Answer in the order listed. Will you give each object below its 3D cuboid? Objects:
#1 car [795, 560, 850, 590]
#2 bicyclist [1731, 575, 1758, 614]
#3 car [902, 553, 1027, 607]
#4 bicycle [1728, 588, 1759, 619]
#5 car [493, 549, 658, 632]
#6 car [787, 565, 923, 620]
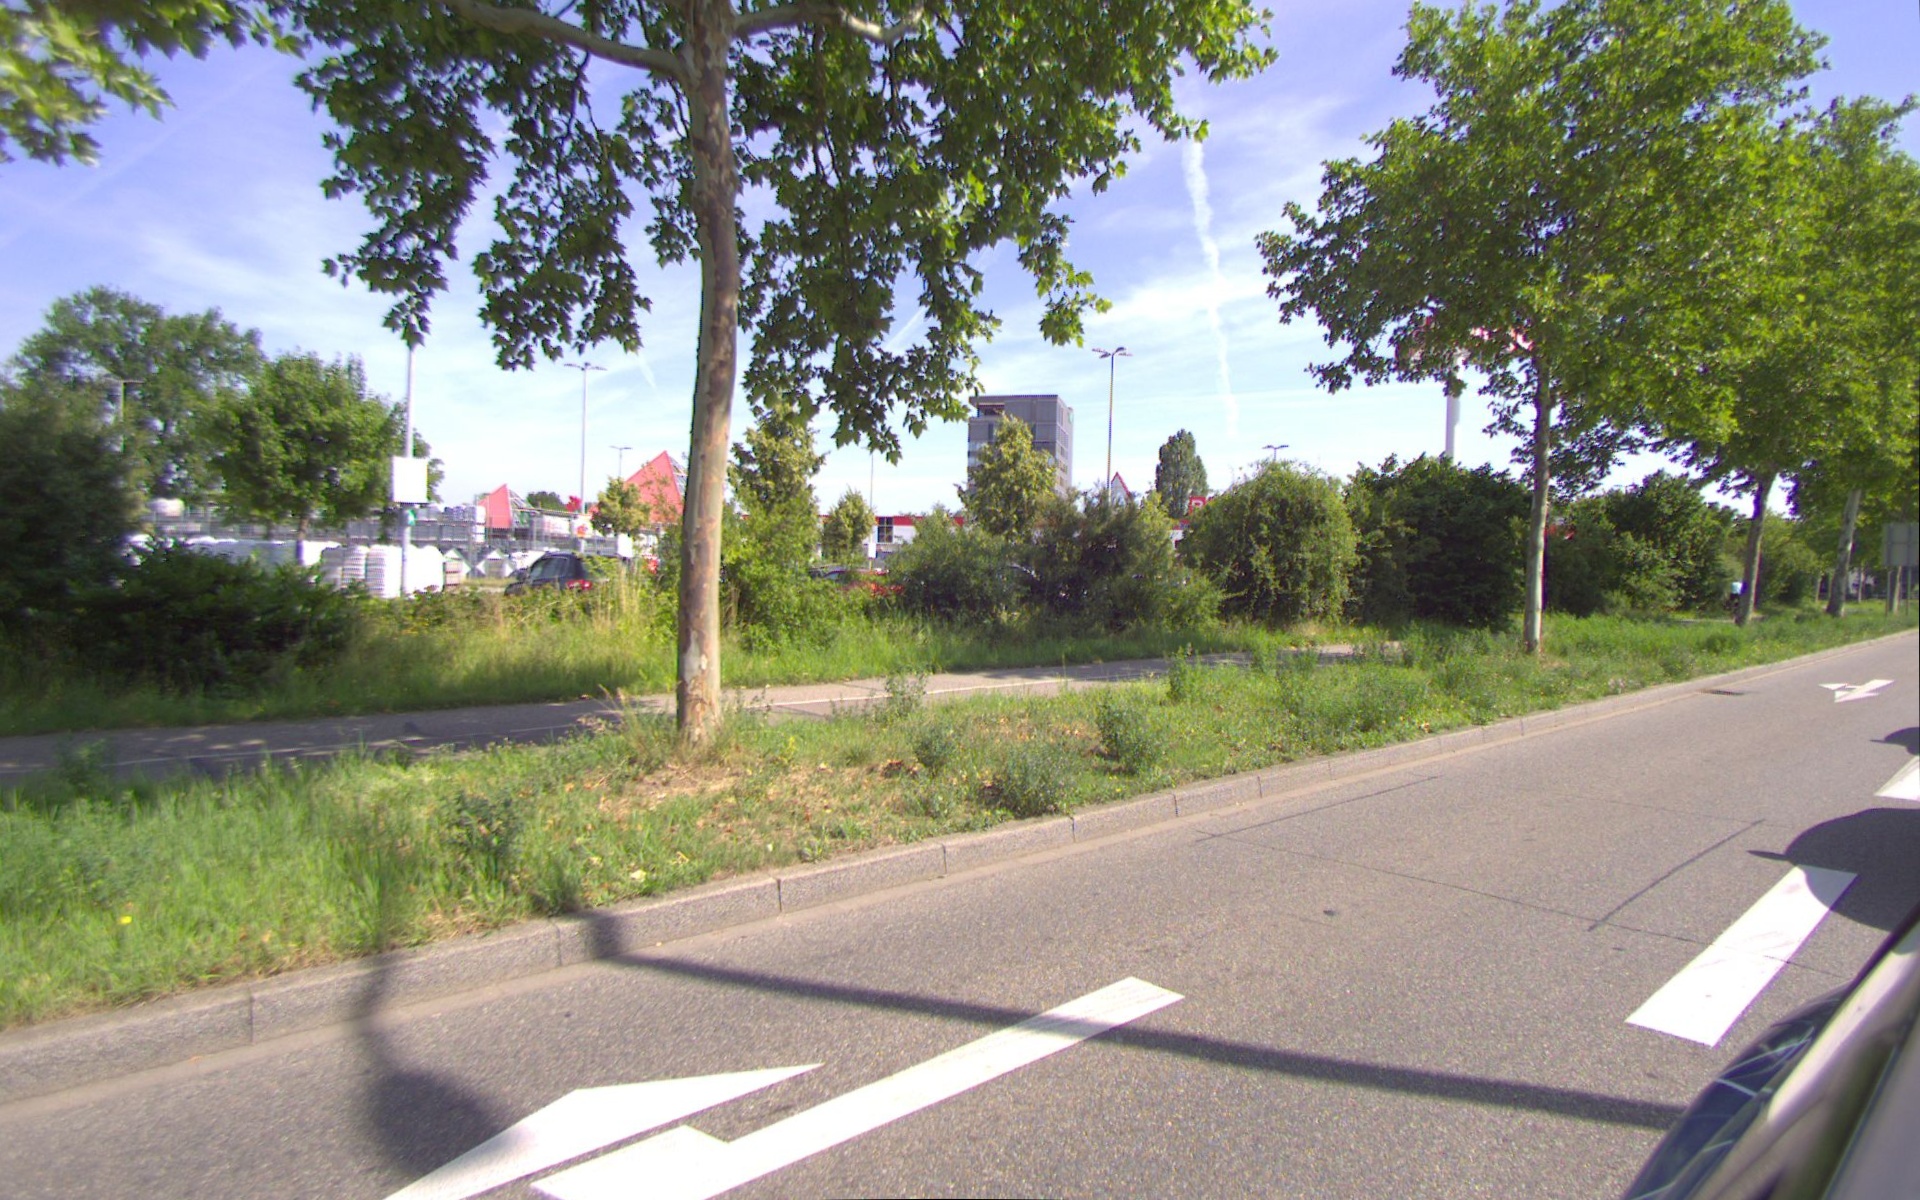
[{"bbox_3d":[-7.599,-1.411,56.254,1.665,1.593,3.985,1,2,13],"label":"car"},{"bbox_3d":[34.059,-0.260,43.943,0.984,1.651,0.686,0,2,-41],"label":"bicyclist"},{"bbox_3d":[0.181,-0.672,32.884,3.801,1.604,1.844,1,2,11],"label":"car"},{"bbox_3d":[34.030,0.140,43.931,1.900,1.252,0.686,-1,2,-41],"label":"bicycle"},{"bbox_3d":[-8.277,-0.261,21.662,3.850,1.604,1.821,3,3,43],"label":"car"},{"bbox_3d":[-2.864,-0.248,27.118,3.553,1.315,1.740,3,3,43],"label":"car"}]
